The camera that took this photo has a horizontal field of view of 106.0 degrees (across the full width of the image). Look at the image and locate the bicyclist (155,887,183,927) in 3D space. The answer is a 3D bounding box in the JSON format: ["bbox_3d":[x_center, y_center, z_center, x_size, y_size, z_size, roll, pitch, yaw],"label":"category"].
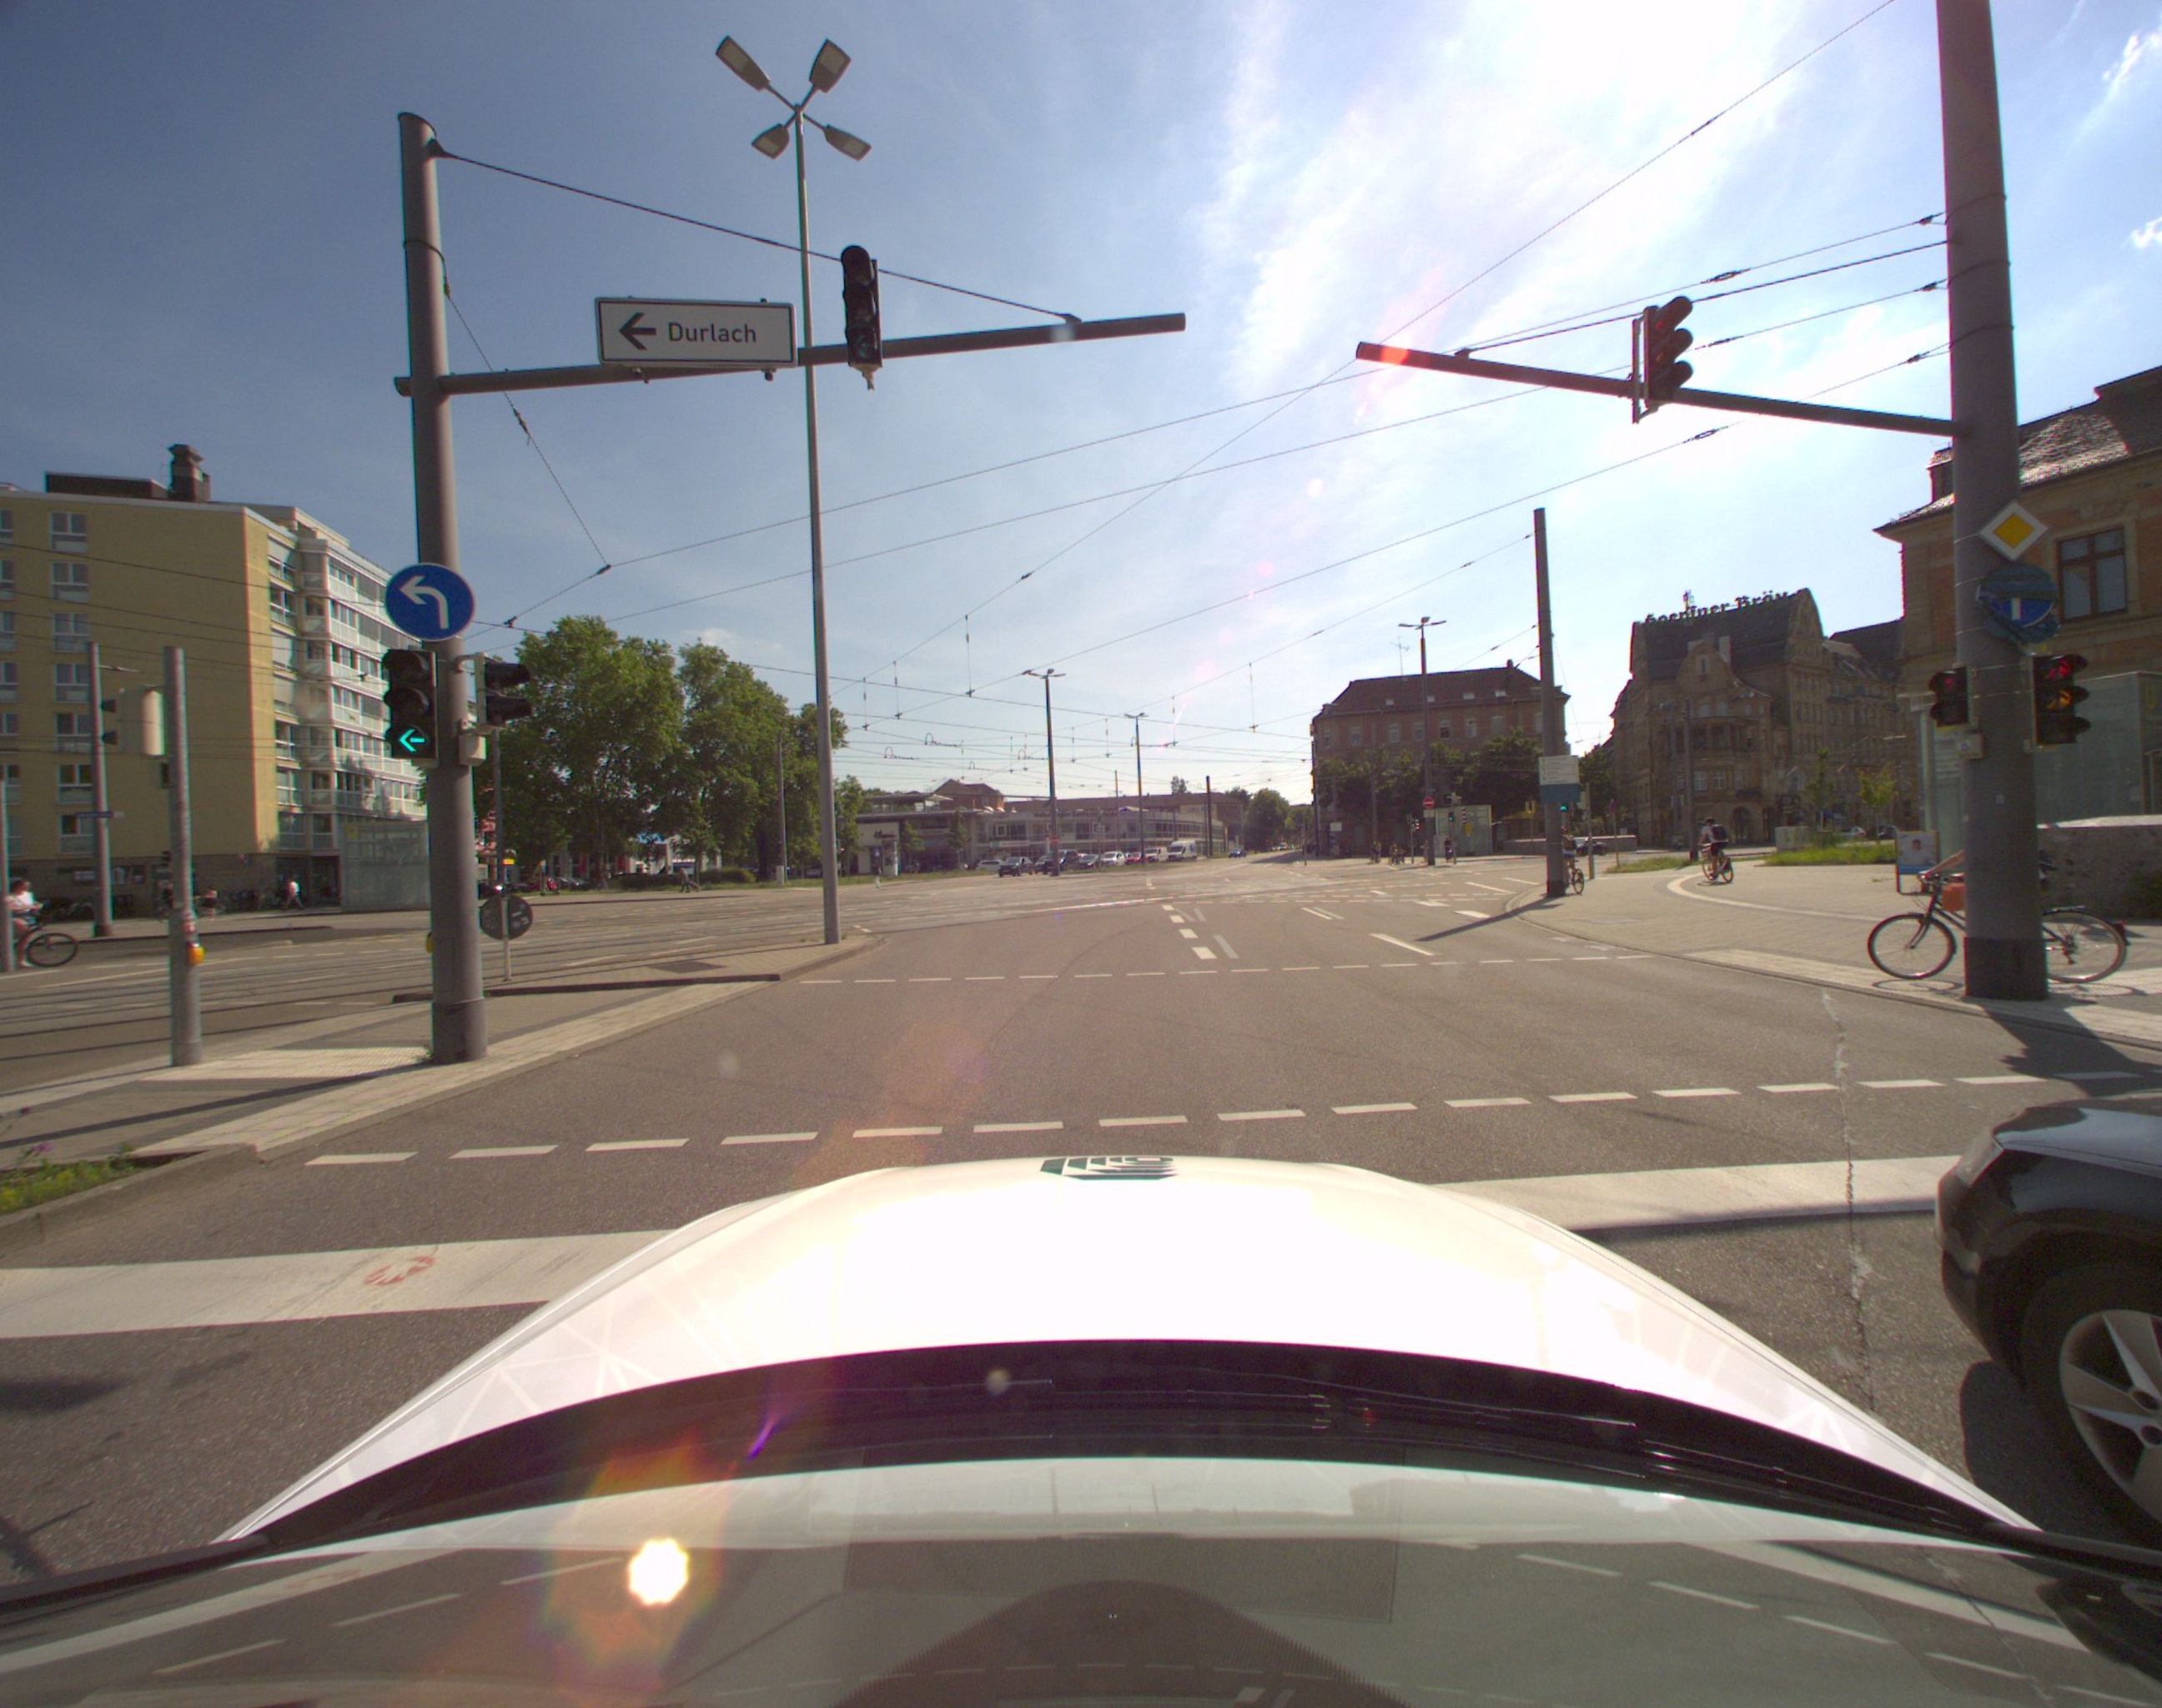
[{"bbox_3d":[-40.935,2.359,36.568,0.584,1.735,0.613,-3,-1,-22],"label":"bicyclist"}]

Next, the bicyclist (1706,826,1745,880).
[{"bbox_3d":[18.025,-0.026,22.792,0.707,1.488,0.956,-1,-1,30],"label":"bicyclist"}]

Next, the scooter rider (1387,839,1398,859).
[{"bbox_3d":[22.050,-0.369,57.678,0.584,1.397,0.407,0,-1,1],"label":"scooter rider"}]

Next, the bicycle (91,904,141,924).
[{"bbox_3d":[-52.161,3.234,44.043,1.750,0.916,0.582,-3,1,-8],"label":"bicycle"}]

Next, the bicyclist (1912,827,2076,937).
[{"bbox_3d":[9.271,0.282,8.319,0.904,1.029,0.721,-5,-1,35],"label":"bicyclist"}]

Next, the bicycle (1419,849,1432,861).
[{"bbox_3d":[25.606,0.042,60.563,0.497,0.866,1.590,0,0,7],"label":"bicycle"}]

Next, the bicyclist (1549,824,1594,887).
[{"bbox_3d":[13.660,0.031,22.704,0.710,1.669,0.877,-5,-1,9],"label":"bicyclist"}]

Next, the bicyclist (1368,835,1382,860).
[{"bbox_3d":[21.939,-0.454,60.778,0.918,1.820,1.058,-1,-1,23],"label":"bicyclist"}]

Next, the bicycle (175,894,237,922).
[{"bbox_3d":[-39.476,2.420,36.765,0.749,1.130,1.798,-2,0,2],"label":"bicycle"}]

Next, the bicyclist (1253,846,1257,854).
[{"bbox_3d":[38.043,-0.845,177.774,0.746,1.568,1.091,-1,-1,15],"label":"bicyclist"}]

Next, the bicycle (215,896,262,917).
[{"bbox_3d":[-46.990,2.914,45.443,1.751,1.043,0.582,-3,1,-9],"label":"bicycle"}]

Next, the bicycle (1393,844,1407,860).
[{"bbox_3d":[23.392,-0.155,59.711,0.918,1.069,2.856,-1,1,21],"label":"bicycle"}]

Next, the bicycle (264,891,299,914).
[{"bbox_3d":[-46.472,2.799,47.353,0.540,1.186,1.881,-2,0,-13],"label":"bicycle"}]

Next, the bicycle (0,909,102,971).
[{"bbox_3d":[-20.996,1.736,16.195,1.843,1.083,0.749,-4,0,-10],"label":"bicycle"}]

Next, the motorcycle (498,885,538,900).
[{"bbox_3d":[-37.061,2.550,53.647,0.632,0.842,2.051,-2,0,35],"label":"motorcycle"}]

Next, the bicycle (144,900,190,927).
[{"bbox_3d":[-41.081,2.670,36.636,0.584,1.130,1.784,-3,-1,-21],"label":"bicycle"}]

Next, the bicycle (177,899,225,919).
[{"bbox_3d":[-48.593,3.028,44.978,1.752,0.965,0.582,-3,1,-11],"label":"bicycle"}]

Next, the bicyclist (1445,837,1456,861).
[{"bbox_3d":[25.421,-0.326,56.082,0.661,1.624,0.787,-1,0,24],"label":"bicyclist"}]

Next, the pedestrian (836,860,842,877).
[{"bbox_3d":[-22.649,1.363,76.193,0.388,1.596,0.466,-1,-1,25],"label":"pedestrian"}]

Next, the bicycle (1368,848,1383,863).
[{"bbox_3d":[22.042,0.106,60.990,0.918,1.069,2.761,-1,-1,23],"label":"bicycle"}]

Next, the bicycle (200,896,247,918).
[{"bbox_3d":[-47.135,2.920,44.779,1.747,1.085,0.583,-3,3,-4],"label":"bicycle"}]

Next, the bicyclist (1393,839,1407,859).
[{"bbox_3d":[23.242,-0.344,59.406,0.918,1.451,1.258,-1,0,21],"label":"bicyclist"}]

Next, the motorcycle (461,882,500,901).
[{"bbox_3d":[-35.936,2.247,48.741,2.019,1.062,0.642,-2,0,9],"label":"motorcycle"}]

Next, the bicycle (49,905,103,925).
[{"bbox_3d":[-53.735,3.241,43.546,1.754,0.916,0.581,-3,1,-16],"label":"bicycle"}]

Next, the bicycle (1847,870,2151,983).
[{"bbox_3d":[9.248,0.743,8.345,1.894,1.015,0.721,-5,-1,35],"label":"bicycle"}]

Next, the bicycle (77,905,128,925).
[{"bbox_3d":[-52.237,3.228,43.479,1.750,0.916,0.582,-3,1,-8],"label":"bicycle"}]

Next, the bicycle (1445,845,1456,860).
[{"bbox_3d":[25.781,-0.112,56.867,0.661,1.069,2.477,-1,1,24],"label":"bicycle"}]

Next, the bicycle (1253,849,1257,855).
[{"bbox_3d":[38.041,-0.443,177.724,0.746,1.194,2.851,-1,-1,16],"label":"bicycle"}]

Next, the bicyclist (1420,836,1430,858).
[{"bbox_3d":[25.594,-0.519,60.543,0.497,1.621,0.651,0,0,7],"label":"bicyclist"}]

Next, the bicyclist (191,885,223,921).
[{"bbox_3d":[-39.454,2.194,36.770,0.728,1.572,0.613,-3,-1,2],"label":"bicyclist"}]

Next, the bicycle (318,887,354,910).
[{"bbox_3d":[-44.578,2.671,48.737,0.581,1.219,1.754,-3,1,-5],"label":"bicycle"}]

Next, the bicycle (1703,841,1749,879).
[{"bbox_3d":[18.014,0.172,22.776,0.707,1.015,2.033,-1,-1,30],"label":"bicycle"}]

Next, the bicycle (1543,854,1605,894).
[{"bbox_3d":[13.709,0.539,22.706,0.710,1.015,2.026,-5,0,10],"label":"bicycle"}]

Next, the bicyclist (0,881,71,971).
[{"bbox_3d":[-20.996,1.425,16.190,0.774,1.684,0.749,-4,0,-9],"label":"bicyclist"}]
